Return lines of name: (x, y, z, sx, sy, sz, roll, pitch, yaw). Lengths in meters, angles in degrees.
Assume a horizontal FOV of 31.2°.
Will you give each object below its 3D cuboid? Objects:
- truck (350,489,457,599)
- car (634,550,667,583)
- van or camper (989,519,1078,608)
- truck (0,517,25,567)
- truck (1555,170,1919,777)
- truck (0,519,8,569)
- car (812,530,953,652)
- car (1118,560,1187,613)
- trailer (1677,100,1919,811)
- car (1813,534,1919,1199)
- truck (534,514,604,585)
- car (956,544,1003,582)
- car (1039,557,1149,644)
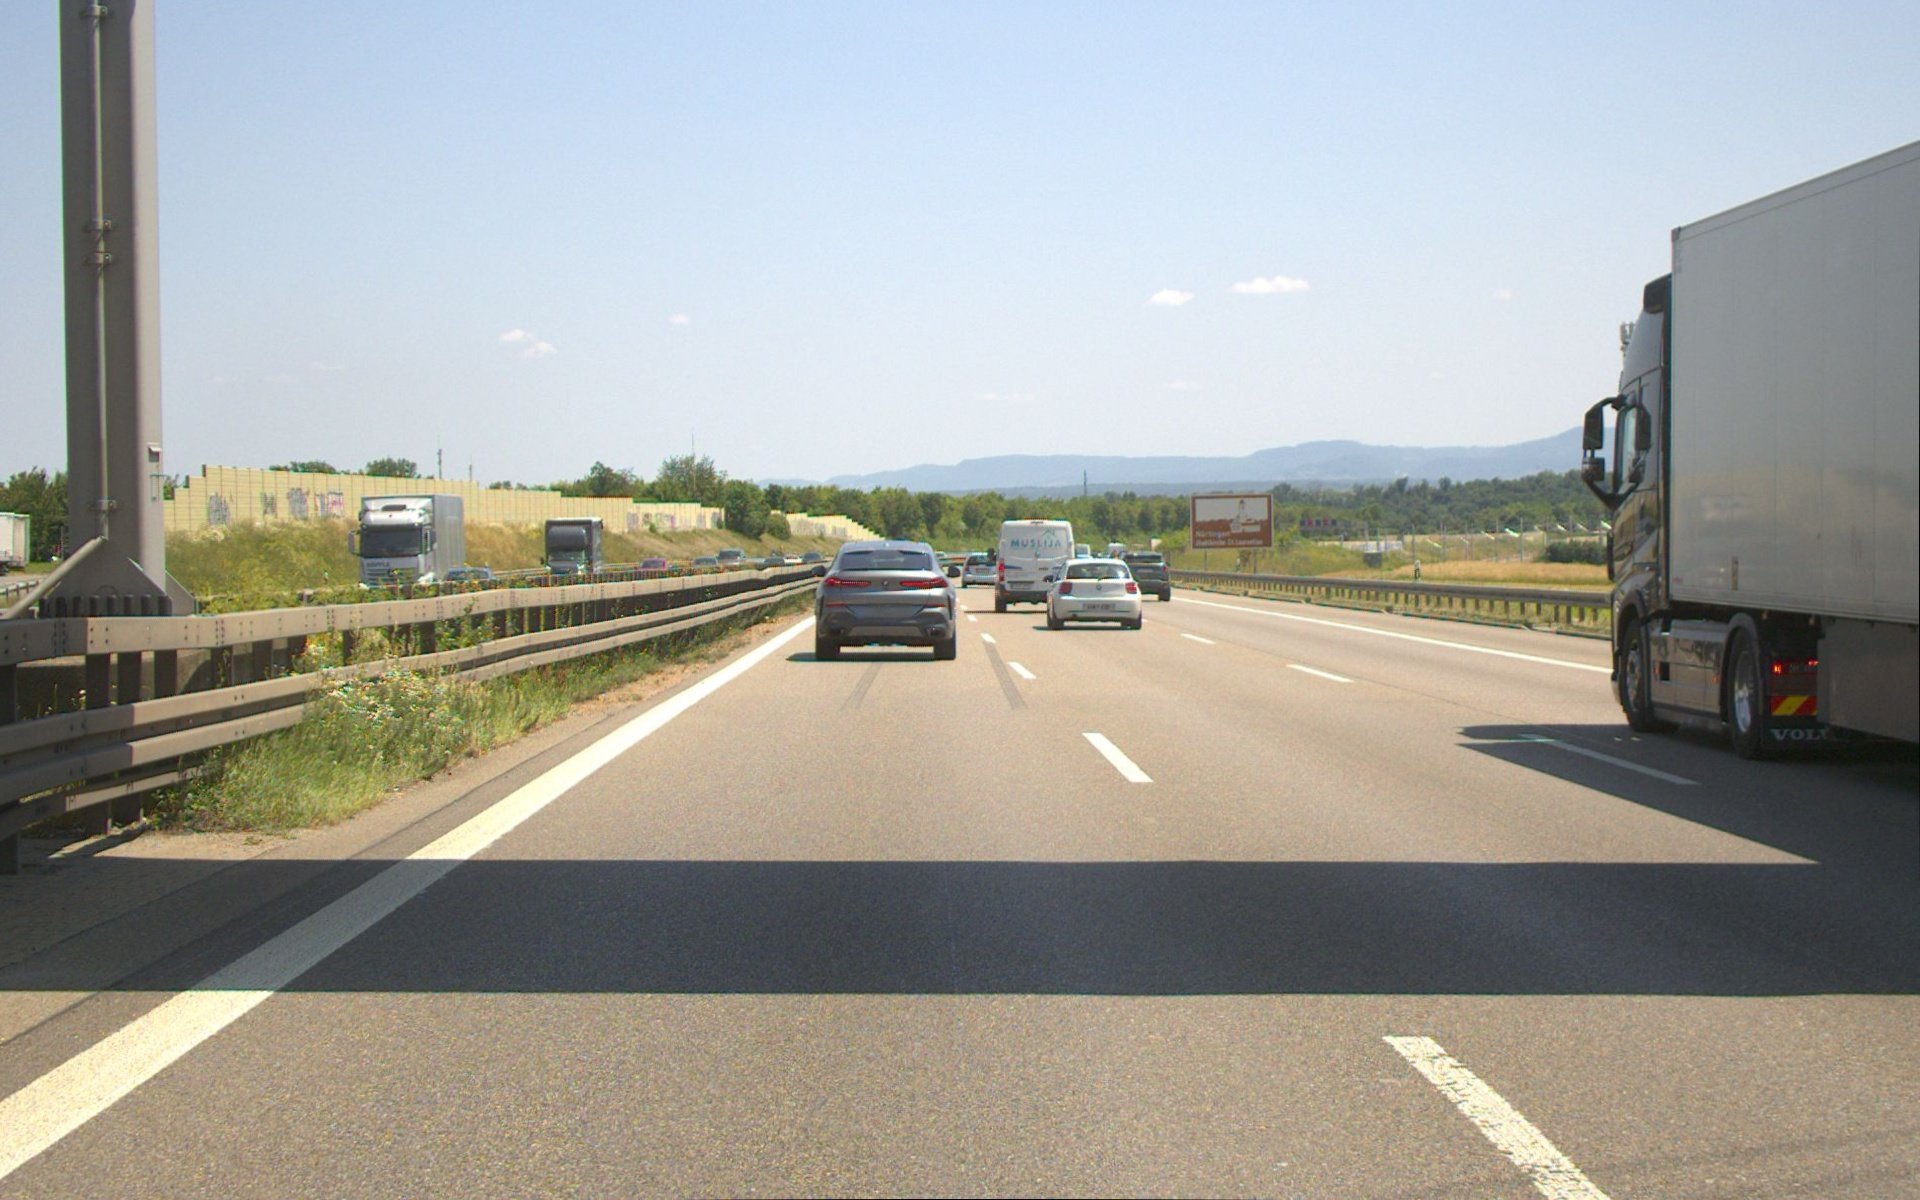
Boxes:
truck: (-19.136, -1.936, 118.430, 2.739, 3.666, 5.898, 1, 1, -1)
car: (-15.840, -1.732, 176.256, 1.547, 1.658, 4.229, 1, 1, -4)
van or camper: (1.861, -0.946, 88.540, 2.110, 2.204, 5.266, 1, 1, -1)
truck: (-65.386, -3.680, 213.818, 14.418, 3.129, 2.660, 0, 1, -44)
truck: (7.032, -0.922, 27.808, 2.979, 4.213, 7.688, 1, 1, -1)
truck: (-65.155, -3.496, 209.114, 14.418, 3.129, 2.660, 0, 1, -44)
car: (-1.148, -0.153, 49.064, 1.851, 1.658, 3.735, 1, 1, -4)
car: (6.323, -0.444, 113.173, 1.993, 1.677, 4.000, 1, 1, -1)
trailer: (7.118, -0.833, 19.816, 2.943, 4.184, 13.597, 1, 1, -1)
car: (2.827, 0.695, 4.821, 1.933, 1.569, 4.935, 1, 1, -1)
truck: (-20.241, -2.622, 178.389, 2.896, 3.551, 10.455, 1, 1, -3)
car: (0.845, -1.657, 152.855, 1.993, 1.677, 4.000, 1, 1, -1)
car: (2.666, -0.013, 69.294, 1.993, 1.677, 4.000, 1, 1, -1)
